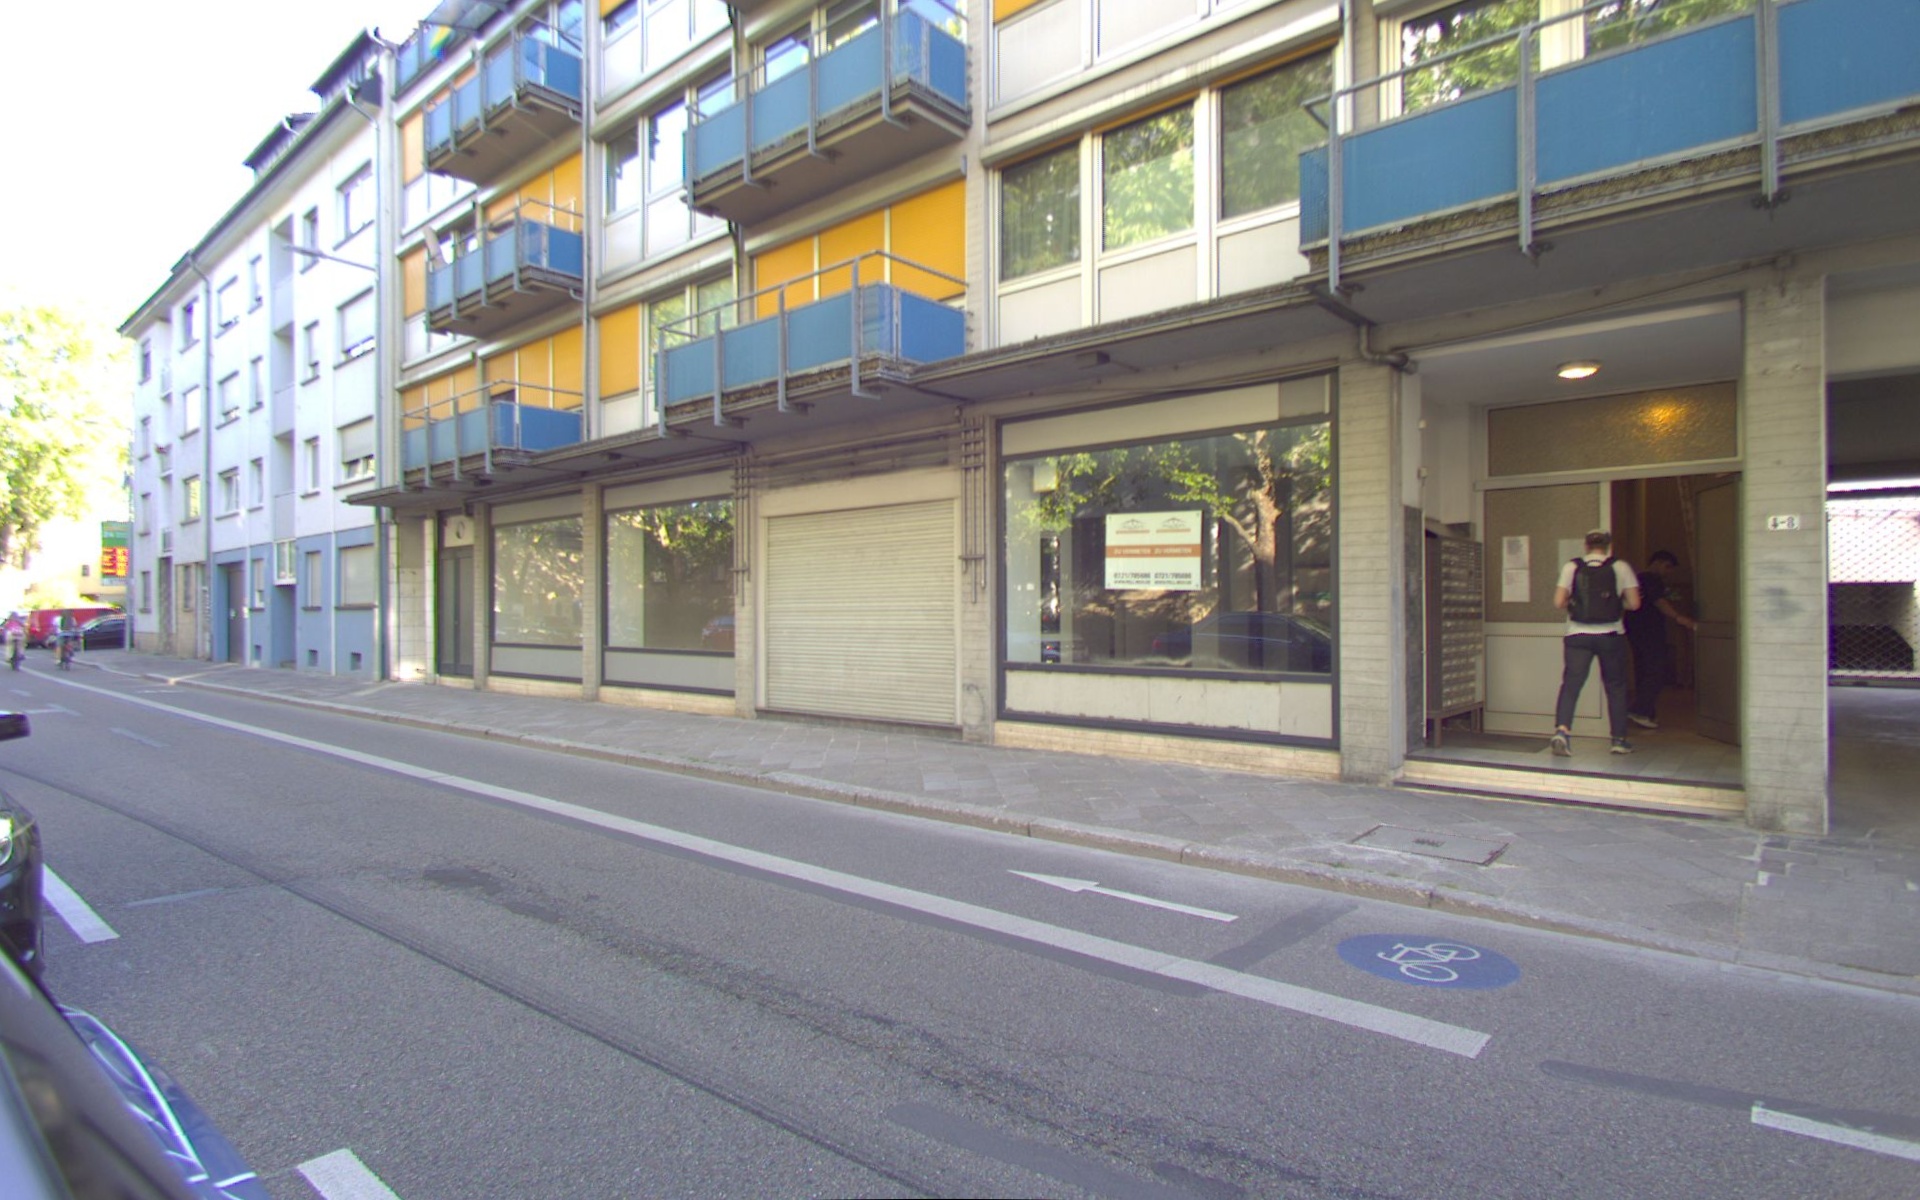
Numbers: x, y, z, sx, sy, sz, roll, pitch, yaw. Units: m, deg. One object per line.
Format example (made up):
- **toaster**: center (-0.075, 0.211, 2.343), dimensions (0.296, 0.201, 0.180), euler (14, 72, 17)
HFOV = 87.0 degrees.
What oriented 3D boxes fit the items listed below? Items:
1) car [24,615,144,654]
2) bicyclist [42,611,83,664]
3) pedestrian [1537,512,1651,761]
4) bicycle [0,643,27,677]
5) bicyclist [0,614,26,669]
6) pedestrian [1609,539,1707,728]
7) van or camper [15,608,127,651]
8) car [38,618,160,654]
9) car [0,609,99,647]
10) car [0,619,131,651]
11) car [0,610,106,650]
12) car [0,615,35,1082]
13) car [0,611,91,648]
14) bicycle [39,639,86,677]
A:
- **car**: center (-41.626, 1.615, 48.166), dimensions (1.999, 1.703, 4.093), euler (-1, -1, 41)
- **bicyclist**: center (-27.211, 1.139, 30.679), dimensions (0.839, 1.566, 0.833), euler (-1, -1, 40)
- **pedestrian**: center (4.944, 0.260, 7.880), dimensions (0.601, 1.813, 0.867), euler (-1, 0, 41)
- **bicycle**: center (-27.910, 1.741, 29.702), dimensions (1.864, 0.936, 0.685), euler (-1, -1, 44)
- **bicyclist**: center (-27.961, 1.210, 29.764), dimensions (0.982, 1.590, 0.677), euler (-2, -1, 44)
- **pedestrian**: center (6.697, 0.312, 9.709), dimensions (0.662, 1.726, 0.540), euler (-2, -1, 45)
- **van or camper**: center (-43.882, 1.425, 50.009), dimensions (1.999, 2.029, 3.946), euler (-1, -1, 40)
- **car**: center (-39.745, 1.627, 46.781), dimensions (1.999, 1.506, 4.093), euler (-1, -1, 41)
- **car**: center (-55.394, 1.666, 61.151), dimensions (1.999, 2.210, 4.927), euler (-1, -1, 41)
- **car**: center (-45.714, 1.745, 51.701), dimensions (1.999, 1.506, 4.927), euler (-1, -1, 41)
- **car**: center (-53.307, 1.731, 59.200), dimensions (1.999, 2.210, 4.927), euler (-1, -1, 41)
- **car**: center (-5.000, 0.819, 3.848), dimensions (3.861, 1.467, 1.718), euler (-1, -1, 40)
- **car**: center (-57.388, 1.816, 62.860), dimensions (1.999, 2.210, 4.927), euler (-1, -1, 41)
- **bicycle**: center (-27.201, 1.743, 30.668), dimensions (1.835, 1.087, 0.854), euler (-1, -1, 41)
